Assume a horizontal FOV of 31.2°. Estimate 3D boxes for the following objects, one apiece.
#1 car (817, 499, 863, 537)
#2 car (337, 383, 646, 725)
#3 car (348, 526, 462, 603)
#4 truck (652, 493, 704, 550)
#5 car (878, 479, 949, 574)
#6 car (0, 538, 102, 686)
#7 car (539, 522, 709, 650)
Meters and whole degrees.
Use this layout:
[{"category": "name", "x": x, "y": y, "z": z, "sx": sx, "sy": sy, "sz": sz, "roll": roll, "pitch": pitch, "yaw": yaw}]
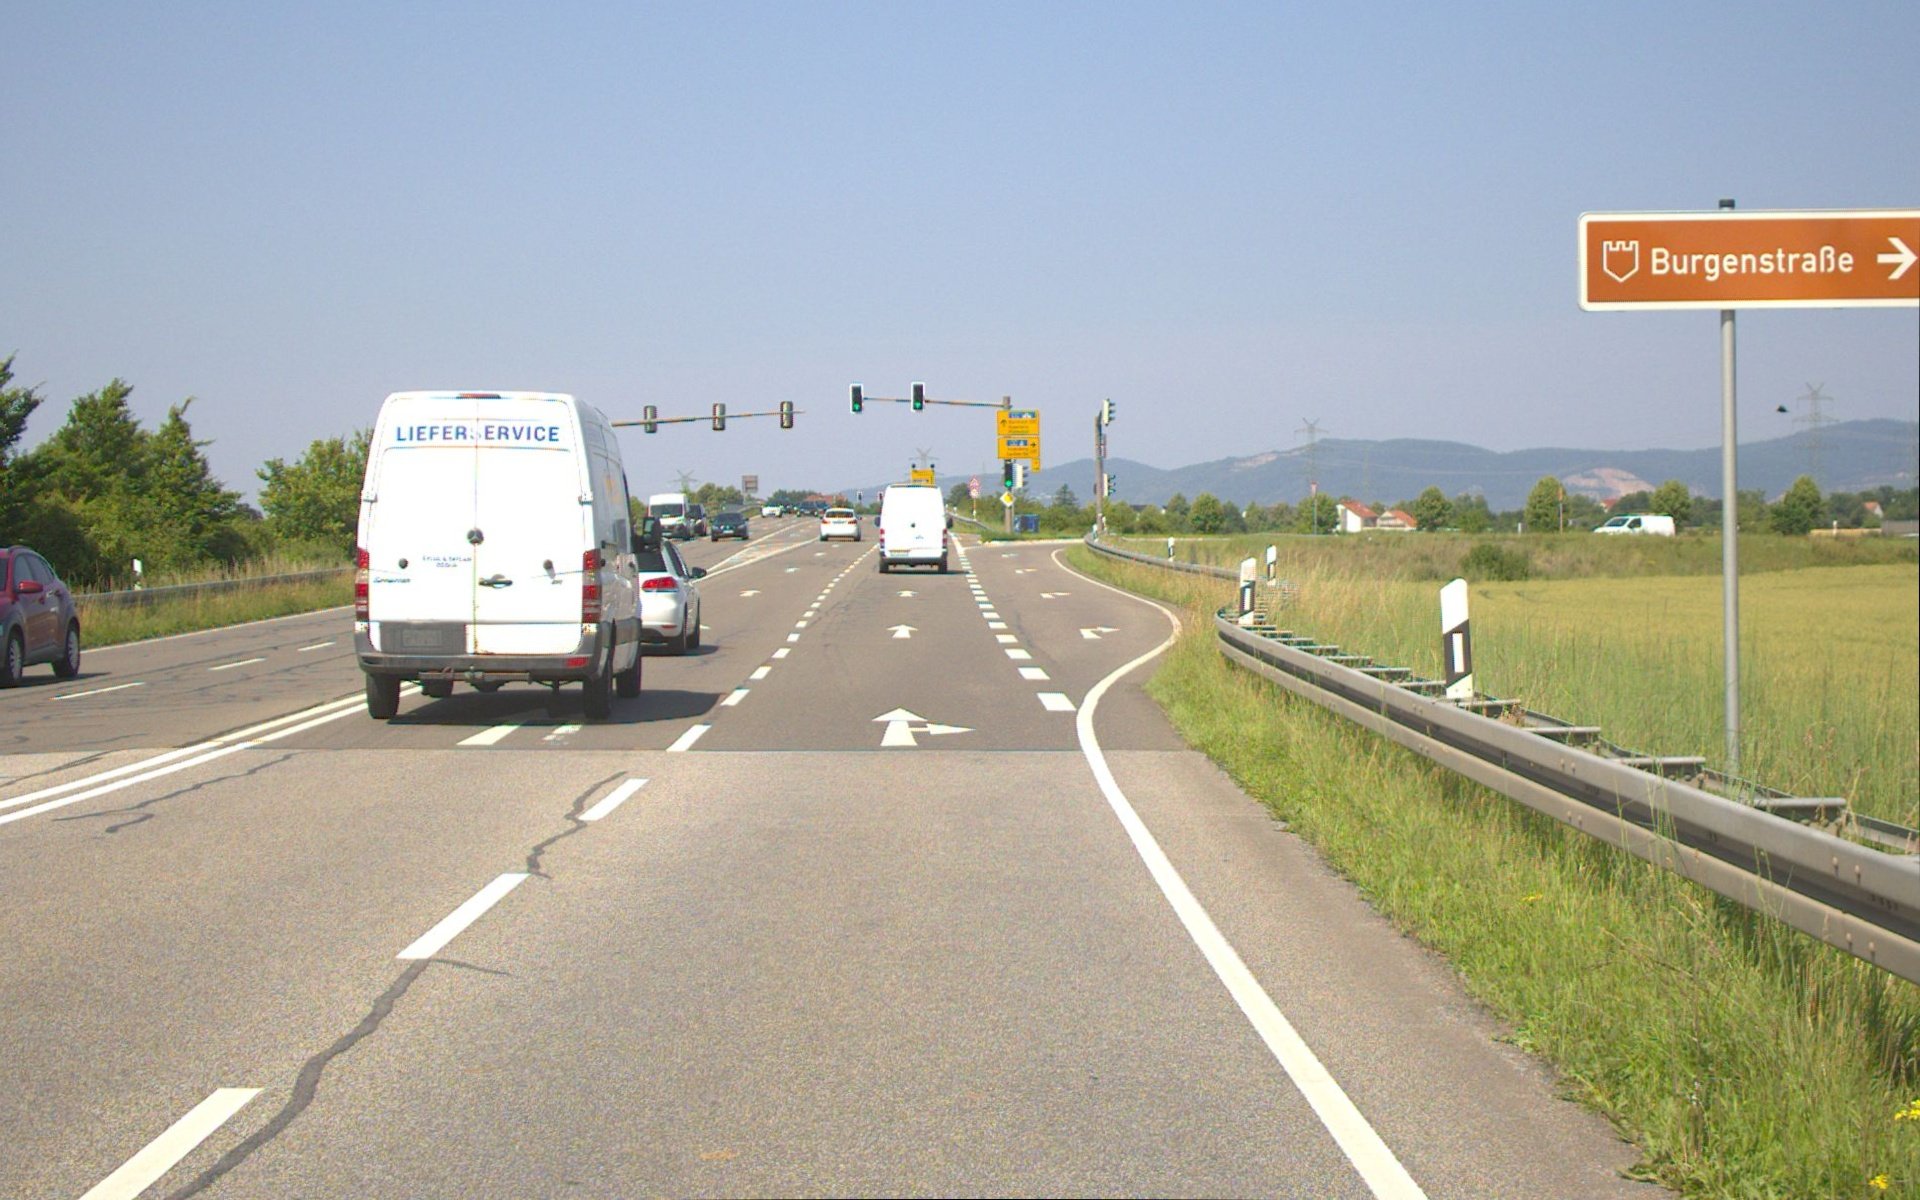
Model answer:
[{"category": "car", "x": -5.645, "y": -3.871, "z": 162.311, "sx": 1.993, "sy": 1.697, "sz": 4.275, "roll": 1, "pitch": 0, "yaw": 0}, {"category": "car", "x": -3.889, "y": -0.381, "z": 29.491, "sx": 2.039, "sy": 2.611, "sz": 5.741, "roll": 1, "pitch": 0, "yaw": -2}, {"category": "car", "x": -11.841, "y": -0.780, "z": 73.593, "sx": 1.819, "sy": 1.503, "sz": 4.127, "roll": -2, "pitch": 1, "yaw": -2}, {"category": "truck", "x": -15.040, "y": -4.176, "z": 183.690, "sx": 2.297, "sy": 2.947, "sz": 5.283, "roll": 0, "pitch": 0, "yaw": 1}, {"category": "car", "x": -1.361, "y": -2.144, "z": 100.814, "sx": 1.993, "sy": 2.686, "sz": 4.970, "roll": 0, "pitch": 1, "yaw": -1}, {"category": "car", "x": -11.217, "y": 0.124, "z": 38.685, "sx": 1.993, "sy": 1.557, "sz": 4.311, "roll": -2, "pitch": 1, "yaw": 0}, {"category": "car", "x": -4.178, "y": -0.211, "z": 43.294, "sx": 1.799, "sy": 1.503, "sz": 4.196, "roll": 0, "pitch": 2, "yaw": -1}]
